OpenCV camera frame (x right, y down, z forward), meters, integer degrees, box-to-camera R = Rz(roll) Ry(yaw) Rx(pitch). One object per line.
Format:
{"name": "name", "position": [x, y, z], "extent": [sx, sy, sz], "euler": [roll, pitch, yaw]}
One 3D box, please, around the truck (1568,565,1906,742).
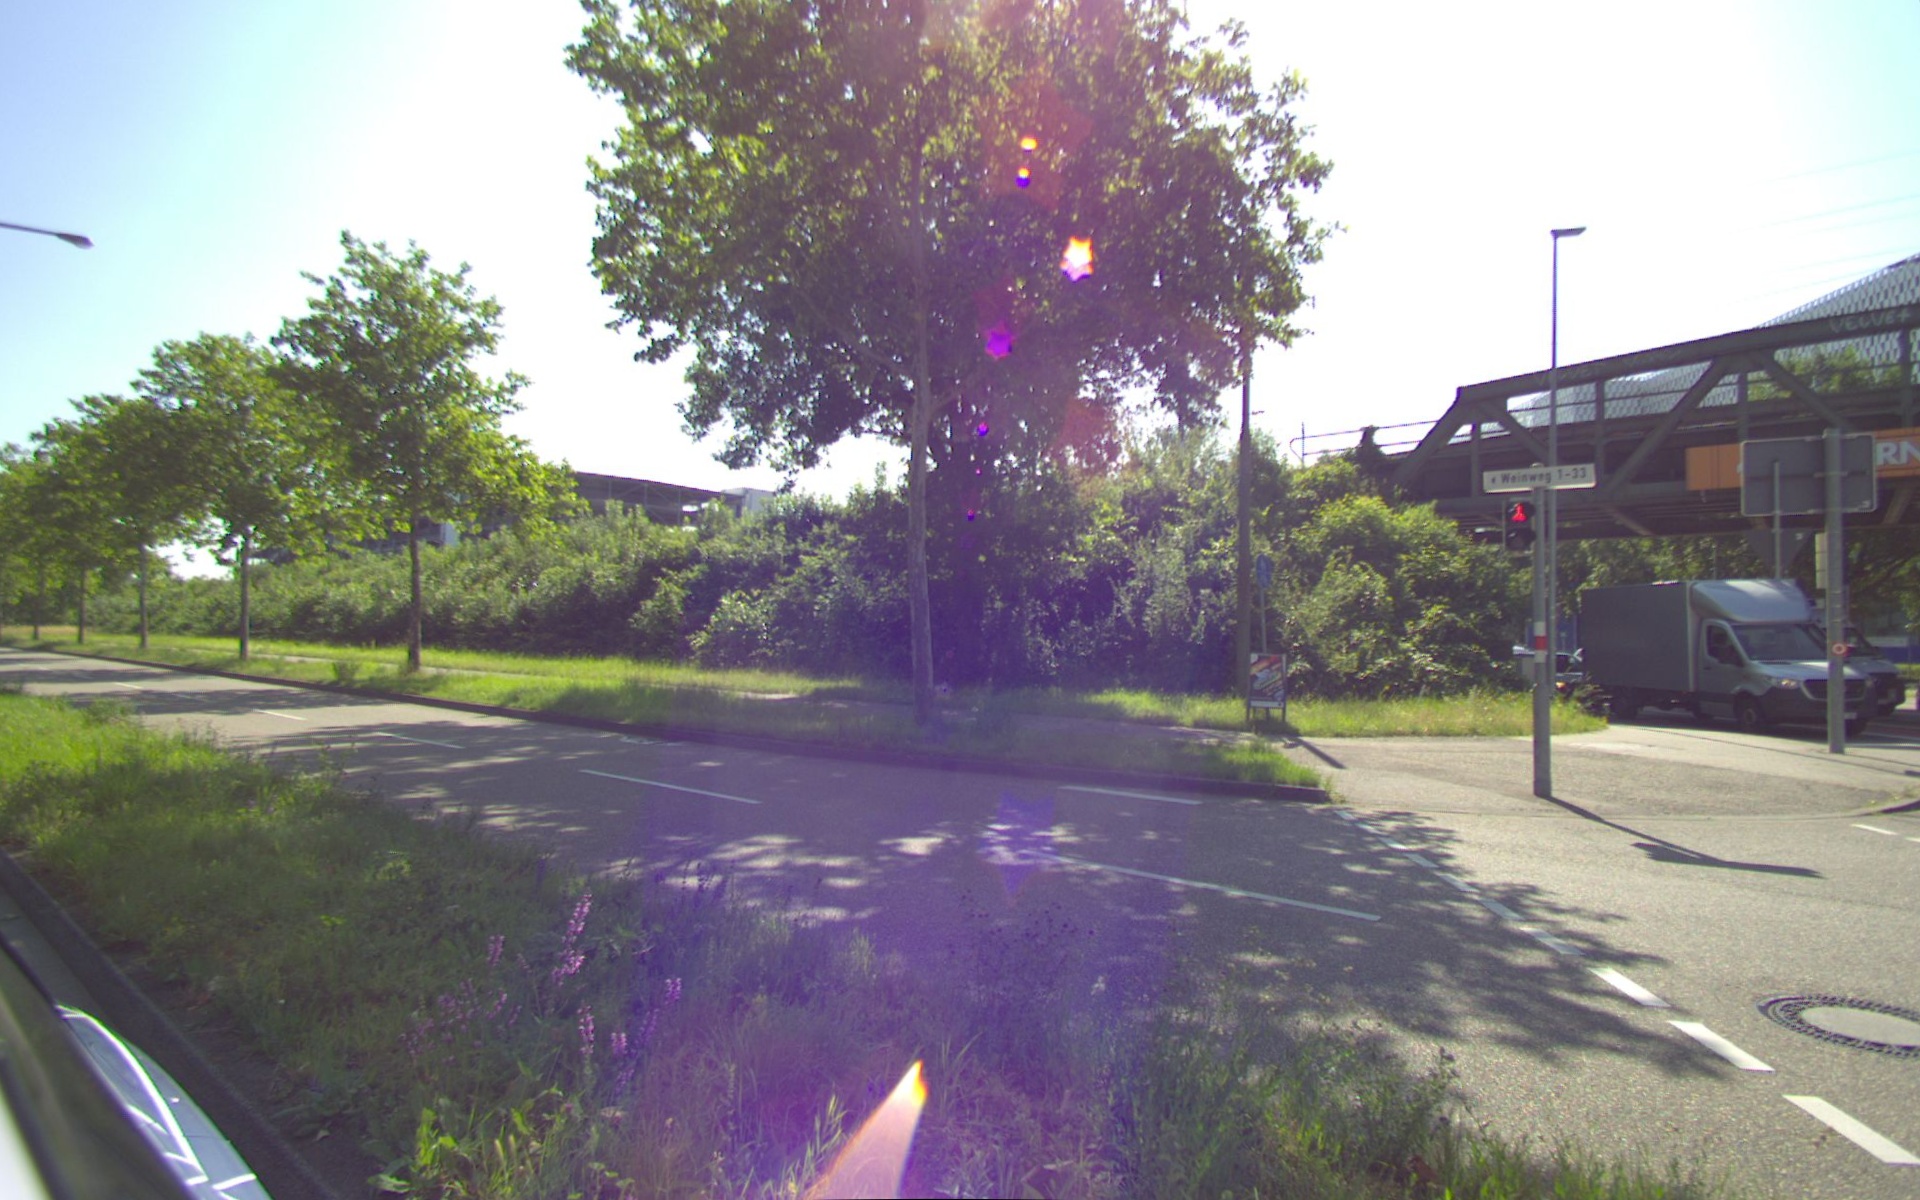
{"name": "truck", "position": [15.862, 1.157, 21.440], "extent": [2.191, 3.130, 6.853], "euler": [0, -4, 5]}

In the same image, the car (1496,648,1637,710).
{"name": "car", "position": [16.728, 2.135, 28.167], "extent": [1.869, 1.400, 4.227], "euler": [0, 0, 9]}

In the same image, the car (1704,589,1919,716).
{"name": "car", "position": [21.943, 1.312, 25.622], "extent": [2.149, 2.834, 6.186], "euler": [0, -3, 7]}
